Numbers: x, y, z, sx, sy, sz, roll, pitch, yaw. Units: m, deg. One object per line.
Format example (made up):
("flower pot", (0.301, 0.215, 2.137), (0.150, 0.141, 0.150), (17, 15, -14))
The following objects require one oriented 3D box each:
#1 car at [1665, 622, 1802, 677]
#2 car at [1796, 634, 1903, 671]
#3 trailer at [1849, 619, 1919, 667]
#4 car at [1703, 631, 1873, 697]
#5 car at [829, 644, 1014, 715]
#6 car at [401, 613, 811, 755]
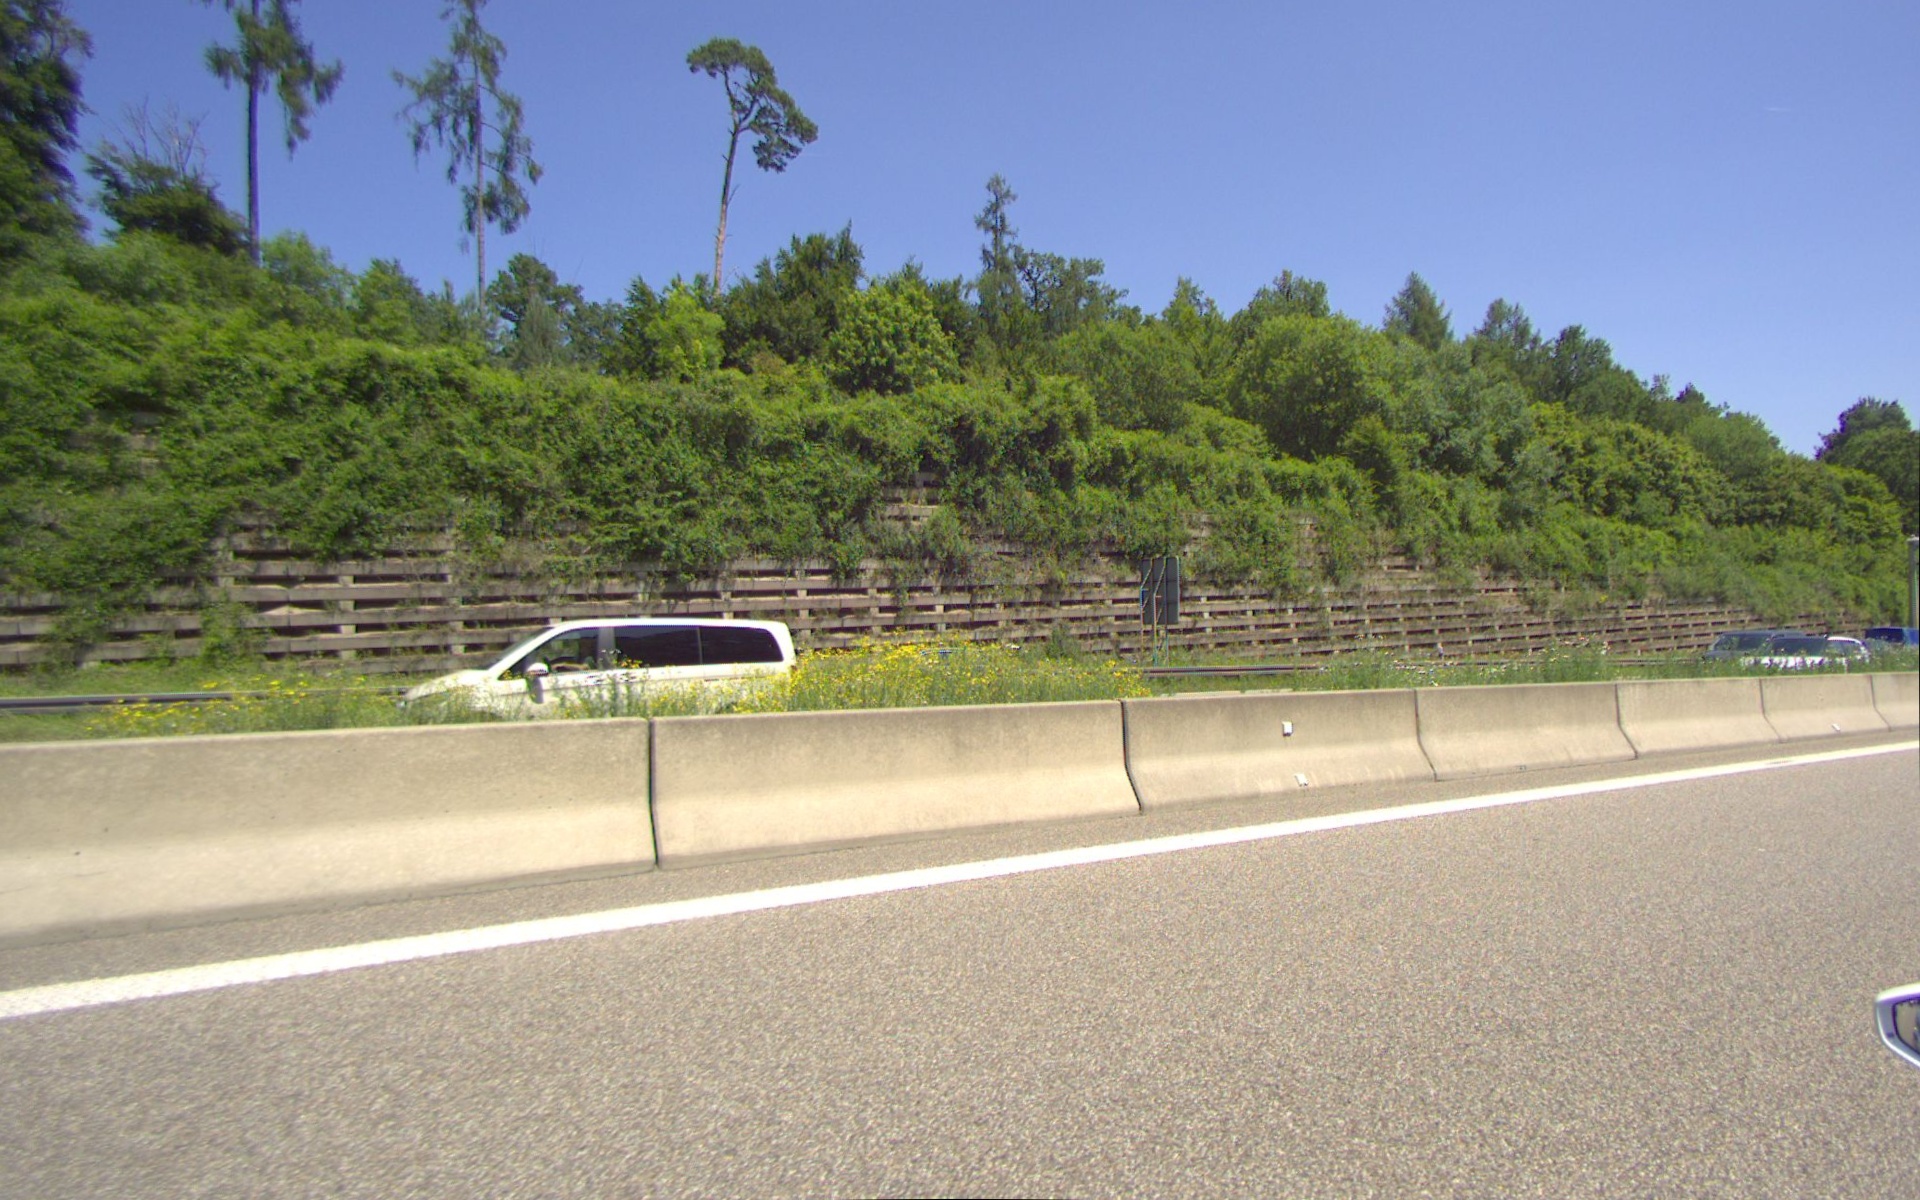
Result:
("car", (23.142, 1.448, 30.030), (4.152, 1.542, 1.780), (1, -2, -29))
("car", (39.691, 2.296, 44.795), (5.410, 1.542, 1.929), (1, -2, -29))
("trailer", (43.558, 1.984, 47.006), (3.452, 2.145, 1.887), (1, -2, -29))
("car", (20.755, 1.545, 25.165), (4.152, 1.542, 1.929), (1, -2, -29))
("car", (-0.916, 1.885, 24.688), (4.154, 1.542, 1.928), (1, -2, -31))
("car", (-4.710, 0.998, 13.640), (5.016, 1.628, 1.884), (0, -1, -30))
